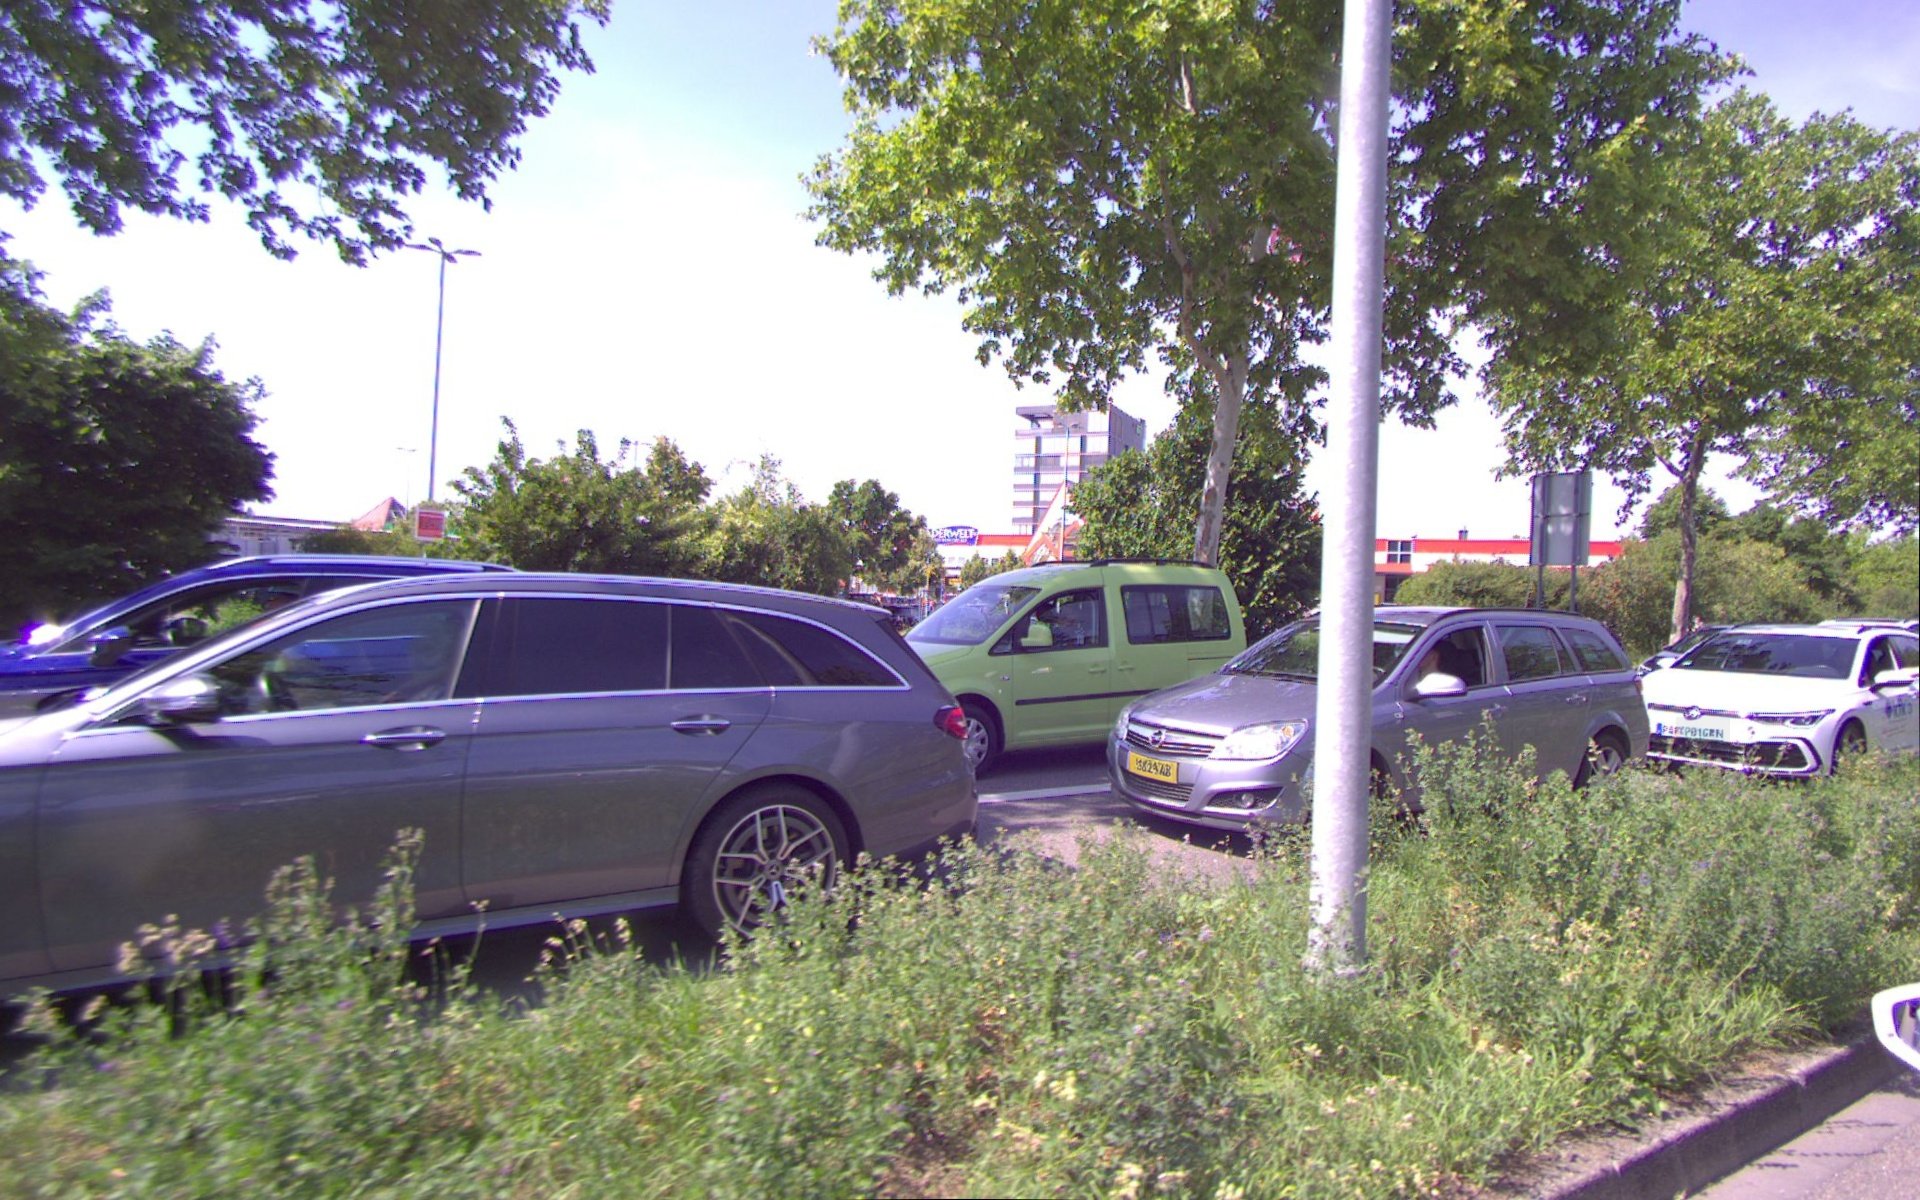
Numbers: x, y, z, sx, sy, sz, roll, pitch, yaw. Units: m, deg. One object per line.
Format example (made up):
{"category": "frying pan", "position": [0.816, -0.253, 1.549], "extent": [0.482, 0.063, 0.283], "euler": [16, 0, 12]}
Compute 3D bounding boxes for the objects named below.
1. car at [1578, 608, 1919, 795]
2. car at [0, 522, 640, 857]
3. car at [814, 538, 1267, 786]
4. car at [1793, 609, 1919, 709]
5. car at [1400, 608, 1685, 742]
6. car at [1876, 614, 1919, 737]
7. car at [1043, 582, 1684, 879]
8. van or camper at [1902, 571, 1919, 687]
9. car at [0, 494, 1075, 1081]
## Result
{"category": "car", "position": [8.297, 0.868, 10.001], "extent": [4.419, 1.478, 1.775], "euler": [1, 0, -30]}
{"category": "car", "position": [-4.335, 0.454, 6.154], "extent": [4.260, 1.653, 1.681], "euler": [1, 0, -30]}
{"category": "car", "position": [0.833, 0.519, 9.399], "extent": [3.992, 1.883, 1.679], "euler": [2, 0, -32]}
{"category": "car", "position": [18.412, 1.100, 19.687], "extent": [3.953, 1.779, 1.984], "euler": [1, 0, -31]}
{"category": "car", "position": [7.877, 0.929, 13.538], "extent": [3.770, 1.550, 1.681], "euler": [1, 0, -30]}
{"category": "car", "position": [13.807, 0.986, 13.114], "extent": [3.770, 1.531, 1.681], "euler": [1, 0, -30]}
{"category": "car", "position": [3.000, 0.719, 7.182], "extent": [4.586, 1.550, 1.804], "euler": [1, 0, -30]}
{"category": "van or camper", "position": [24.428, 0.718, 23.487], "extent": [5.452, 2.622, 2.005], "euler": [1, 0, -30]}
{"category": "car", "position": [-2.064, 0.538, 4.200], "extent": [4.949, 1.629, 1.838], "euler": [1, 0, -30]}
